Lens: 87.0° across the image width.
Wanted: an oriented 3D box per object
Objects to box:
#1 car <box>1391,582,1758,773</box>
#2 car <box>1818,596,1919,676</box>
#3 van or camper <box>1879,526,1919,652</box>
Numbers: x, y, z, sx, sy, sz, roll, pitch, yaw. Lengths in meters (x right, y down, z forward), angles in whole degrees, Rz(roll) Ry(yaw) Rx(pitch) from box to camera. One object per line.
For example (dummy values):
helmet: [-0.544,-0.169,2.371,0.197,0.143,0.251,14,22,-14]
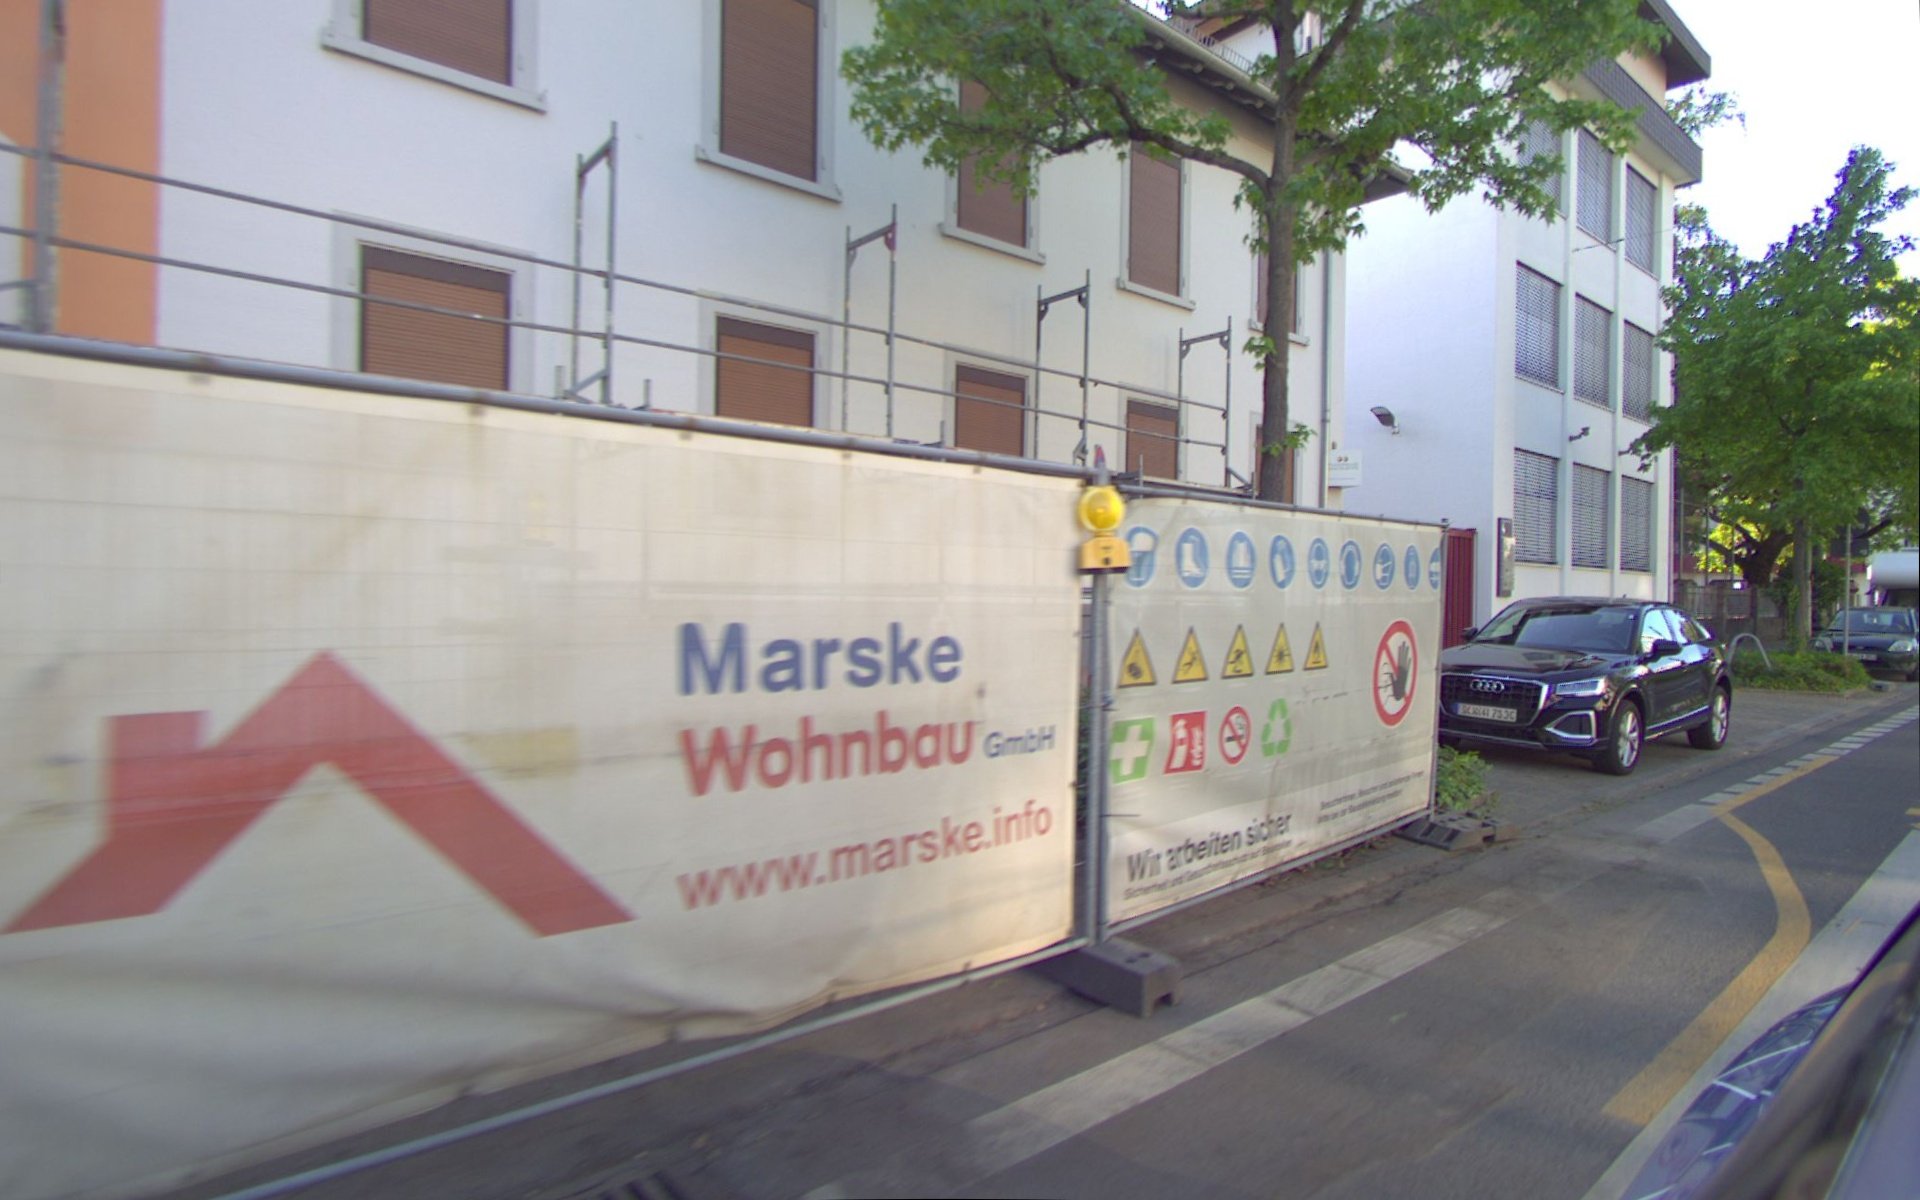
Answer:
car: [6.227,0.618,10.096,4.034,1.502,1.768,0,2,-38]
car: [19.113,0.677,20.820,3.734,1.465,1.655,0,2,-41]
van or camper: [26.971,-0.259,27.300,7.159,3.131,2.172,0,2,-40]
